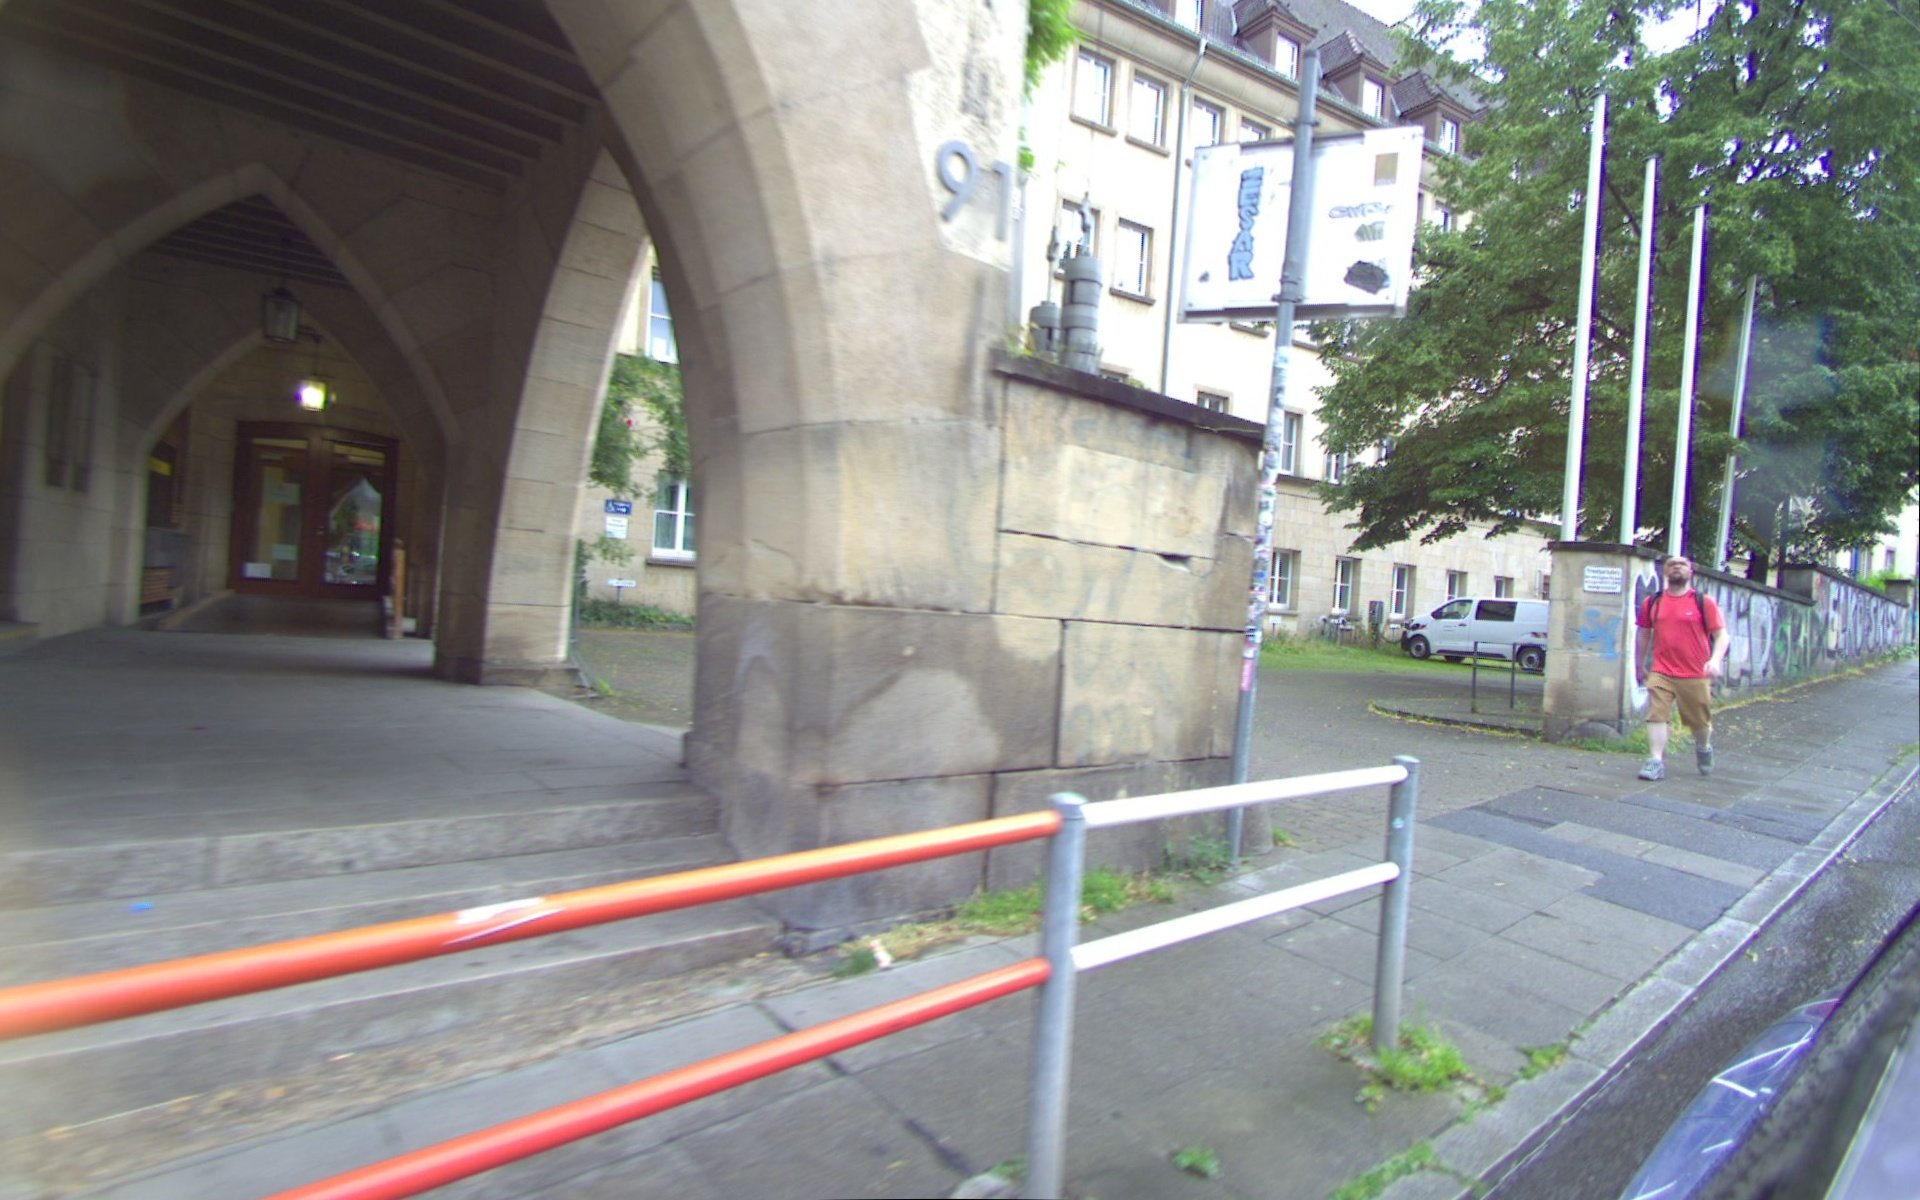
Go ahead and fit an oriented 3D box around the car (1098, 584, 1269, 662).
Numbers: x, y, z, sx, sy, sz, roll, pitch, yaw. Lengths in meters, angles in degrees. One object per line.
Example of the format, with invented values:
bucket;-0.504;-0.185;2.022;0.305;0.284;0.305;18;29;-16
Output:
car;4.693;0.436;21.810;1.784;1.527;3.930;0;0;-19

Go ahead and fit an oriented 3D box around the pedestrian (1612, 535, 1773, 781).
pedestrian;5.748;0.412;7.949;0.804;1.785;0.748;1;4;-41

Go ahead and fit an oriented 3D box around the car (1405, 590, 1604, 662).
car;14.675;0.639;27.571;1.786;1.802;4.538;0;0;-29

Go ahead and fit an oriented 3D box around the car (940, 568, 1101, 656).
car;1.024;0.189;19.186;1.579;1.488;3.924;0;0;-21
